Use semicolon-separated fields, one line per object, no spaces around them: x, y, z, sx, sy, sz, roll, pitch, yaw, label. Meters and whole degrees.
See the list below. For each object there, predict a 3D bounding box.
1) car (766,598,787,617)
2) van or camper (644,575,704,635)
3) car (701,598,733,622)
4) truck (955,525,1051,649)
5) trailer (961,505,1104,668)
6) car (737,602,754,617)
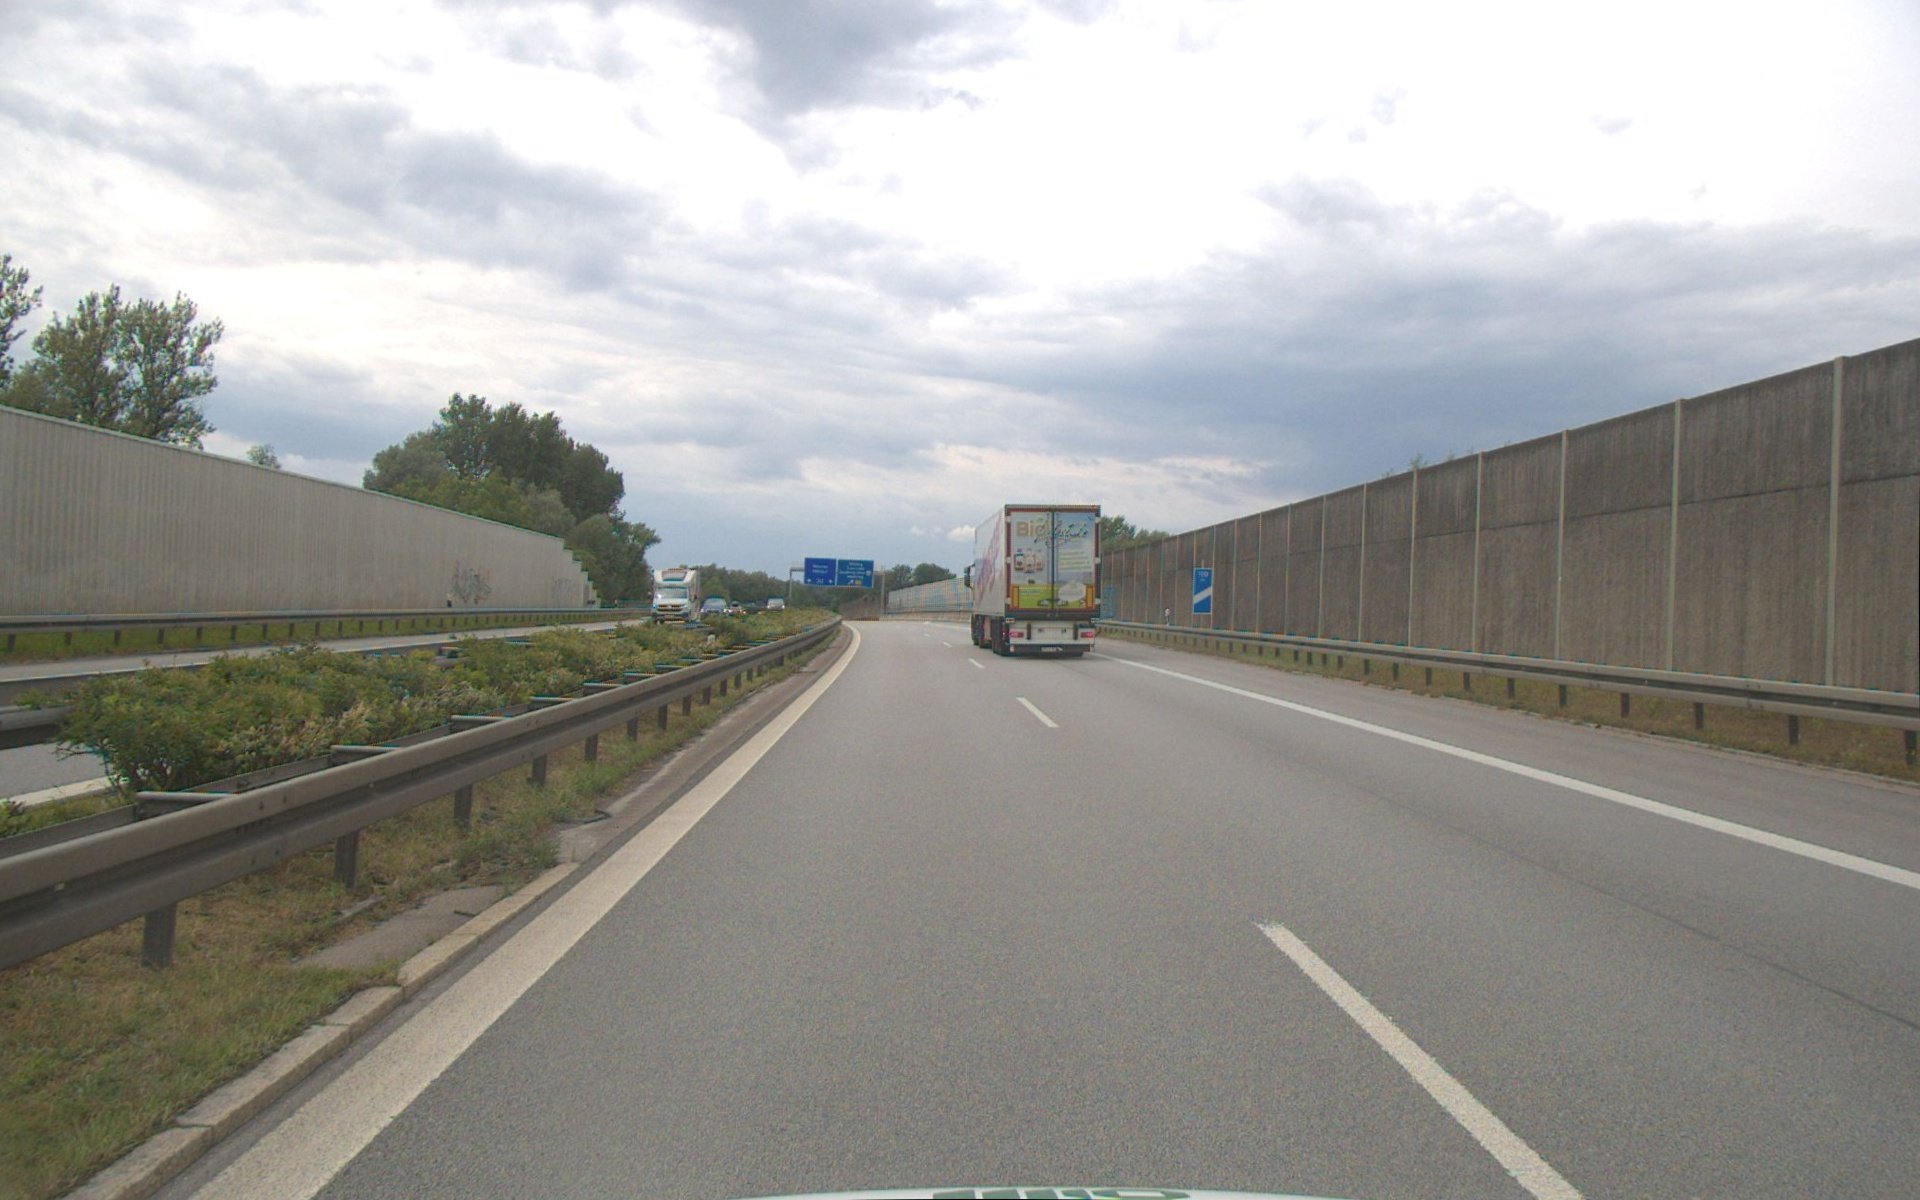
-18.855;0.729;170.009;1.954;1.919;4.551;1;0;-5;car
-14.240;0.252;82.655;2.209;2.828;5.751;1;0;-3;van or camper
-16.292;0.661;111.135;1.776;1.574;4.512;1;0;-4;car
1.400;-0.395;56.712;2.702;4.029;5.671;0;0;-5;truck
1.931;-0.311;50.541;2.738;4.248;14.090;0;0;-4;trailer
-26.467;1.185;204.192;1.932;1.792;4.938;1;0;-6;car
